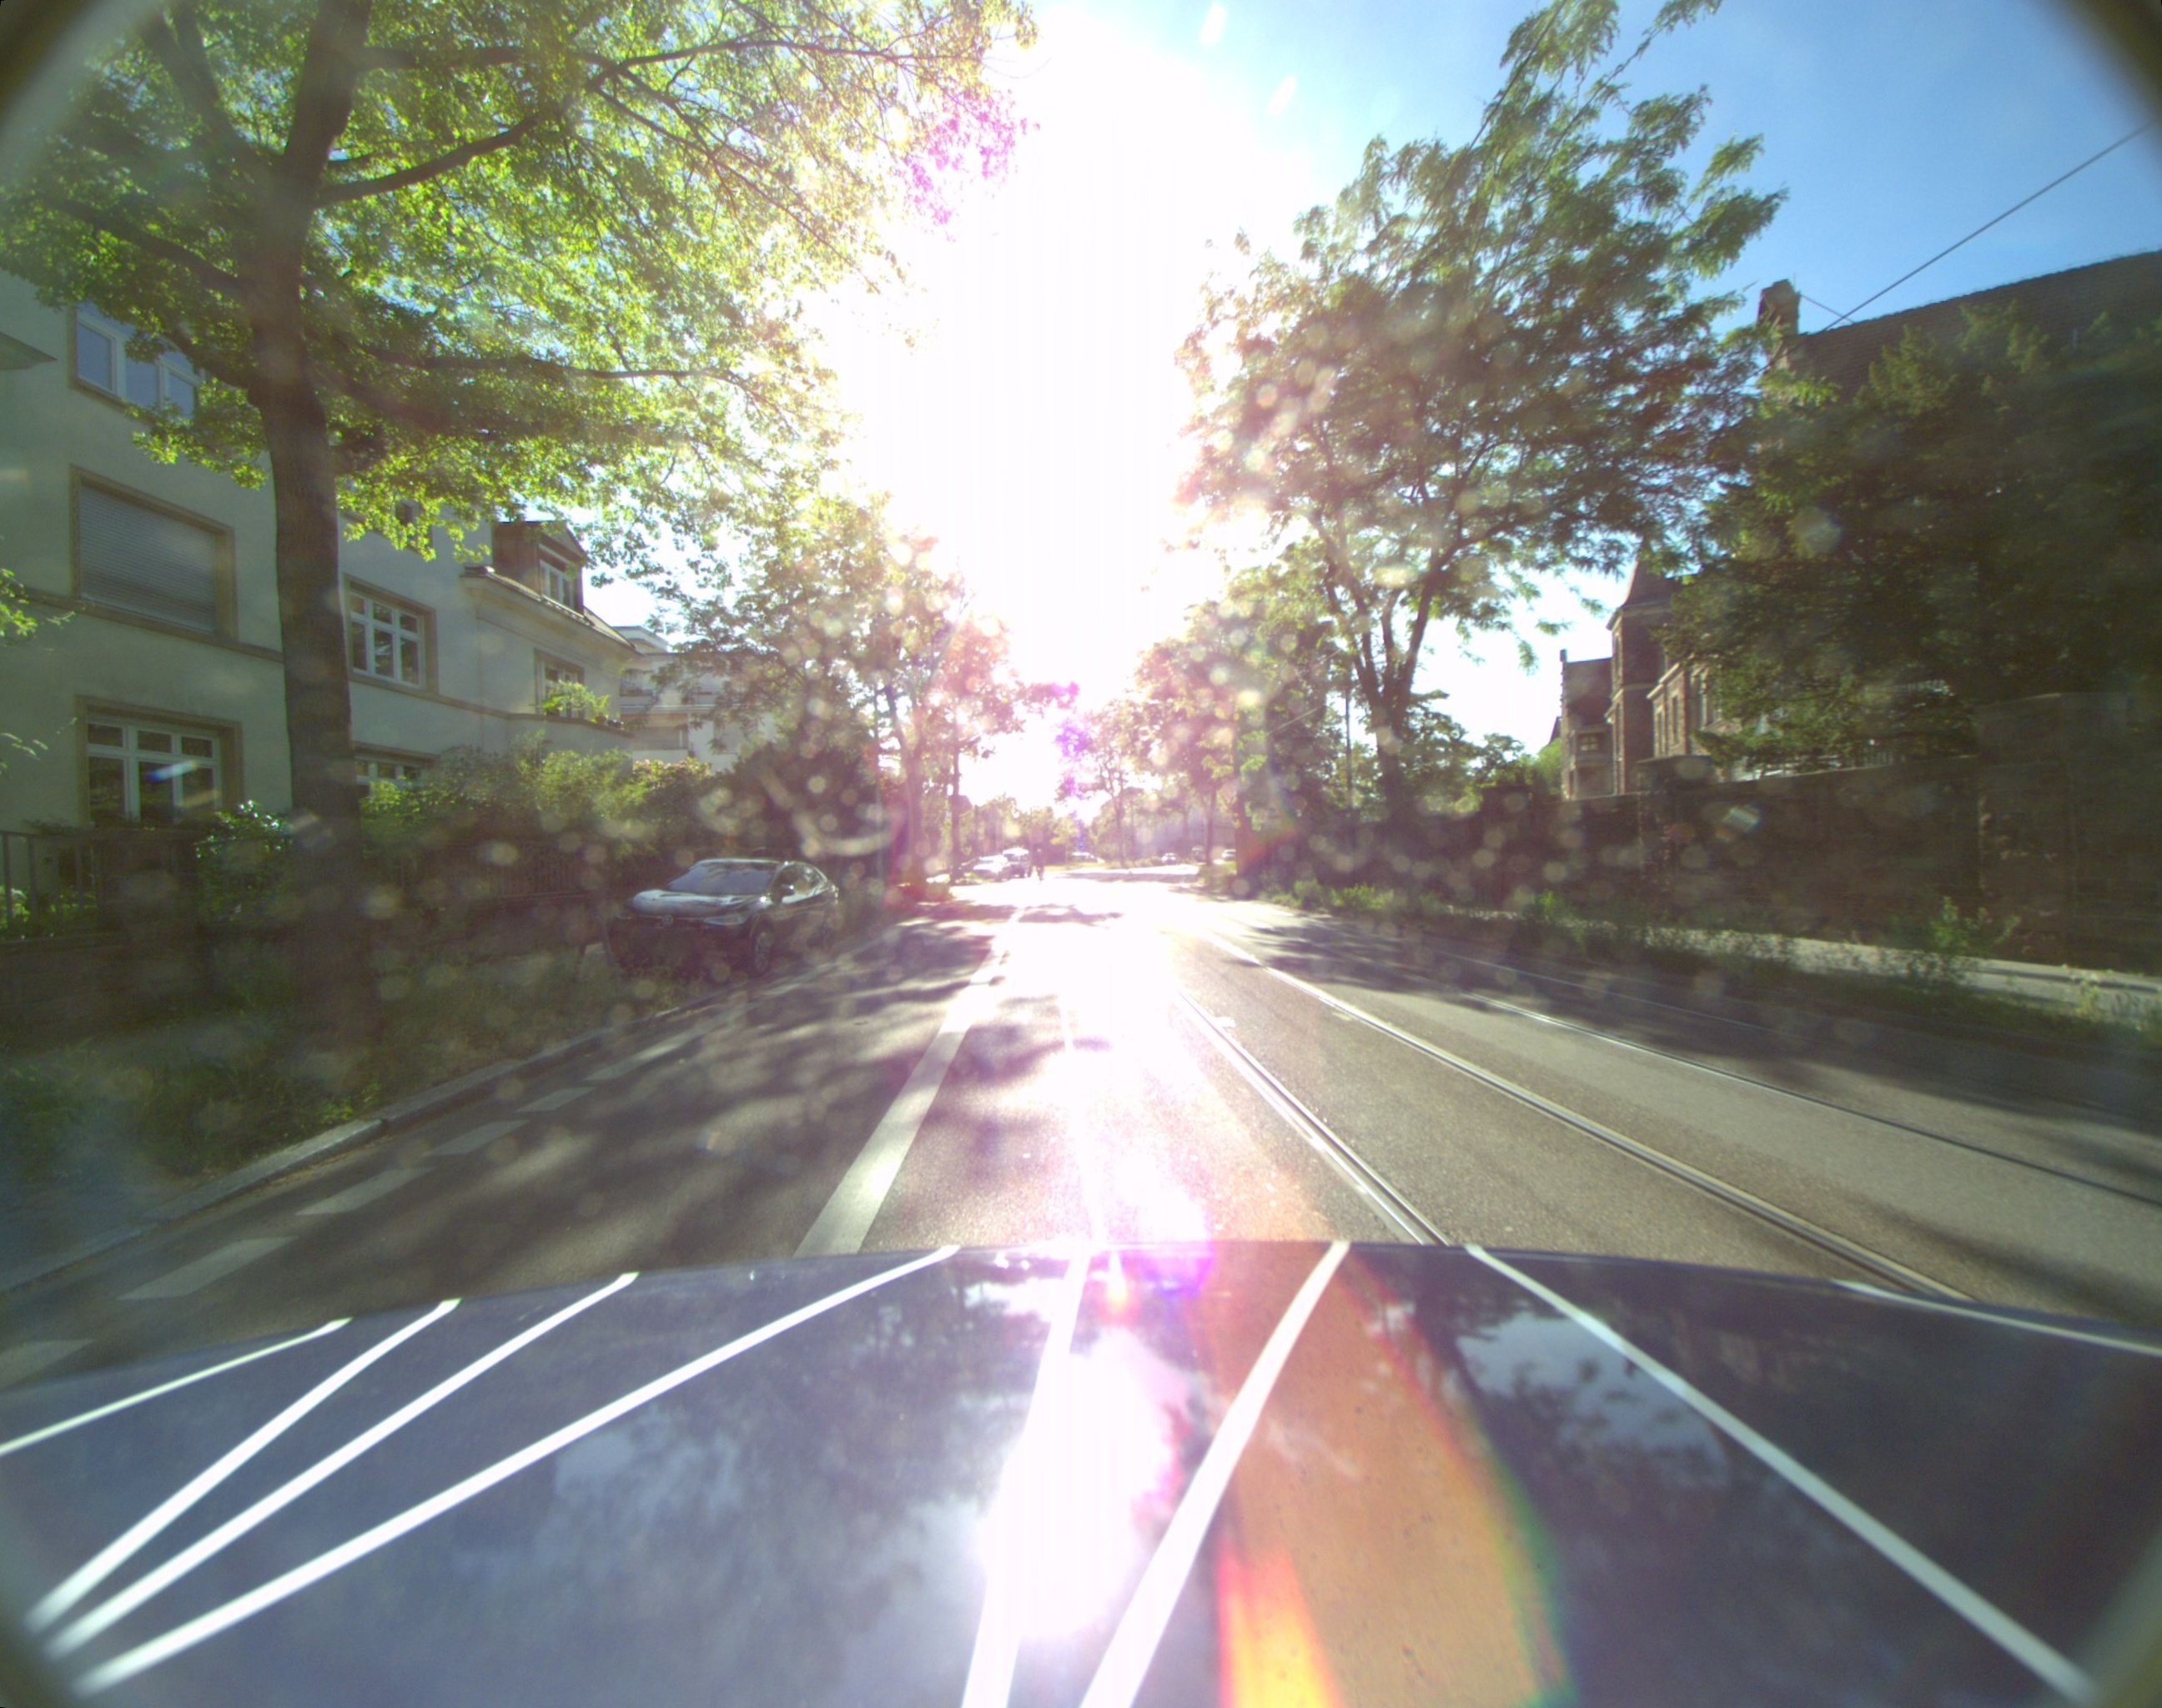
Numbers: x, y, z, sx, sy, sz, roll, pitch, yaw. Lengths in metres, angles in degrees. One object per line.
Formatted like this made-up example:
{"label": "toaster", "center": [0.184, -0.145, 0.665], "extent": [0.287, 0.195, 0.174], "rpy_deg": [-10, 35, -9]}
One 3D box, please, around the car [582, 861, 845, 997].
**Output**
{"label": "car", "center": [-5.197, 0.947, 11.506], "extent": [1.919, 1.590, 4.258], "rpy_deg": [2, 0, -1]}

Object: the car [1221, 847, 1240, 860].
{"label": "car", "center": [21.717, -0.064, 110.318], "extent": [1.874, 1.805, 4.974], "rpy_deg": [-1, 0, 21]}

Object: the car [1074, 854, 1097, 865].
{"label": "car", "center": [0.757, 0.916, 128.787], "extent": [3.908, 1.683, 1.905], "rpy_deg": [-1, 0, -1]}

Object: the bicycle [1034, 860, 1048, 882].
{"label": "bicycle", "center": [-2.102, 0.914, 40.427], "extent": [0.588, 1.105, 1.855], "rpy_deg": [-2, 0, 1]}

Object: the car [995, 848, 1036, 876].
{"label": "car", "center": [-4.400, 0.505, 51.687], "extent": [1.900, 1.775, 4.670], "rpy_deg": [-1, 0, 6]}

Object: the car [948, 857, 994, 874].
{"label": "car", "center": [-10.039, 1.044, 69.537], "extent": [3.998, 1.433, 1.813], "rpy_deg": [-2, 0, -3]}

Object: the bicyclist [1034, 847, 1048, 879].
{"label": "bicyclist", "center": [-2.128, 0.469, 40.387], "extent": [0.644, 1.632, 0.665], "rpy_deg": [-2, 1, 0]}

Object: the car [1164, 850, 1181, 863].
{"label": "car", "center": [11.918, 0.315, 98.719], "extent": [1.997, 1.539, 4.002], "rpy_deg": [-2, 0, 8]}

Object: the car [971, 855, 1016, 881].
{"label": "car", "center": [-5.162, 0.793, 45.332], "extent": [1.901, 1.402, 4.260], "rpy_deg": [-1, 0, 4]}
